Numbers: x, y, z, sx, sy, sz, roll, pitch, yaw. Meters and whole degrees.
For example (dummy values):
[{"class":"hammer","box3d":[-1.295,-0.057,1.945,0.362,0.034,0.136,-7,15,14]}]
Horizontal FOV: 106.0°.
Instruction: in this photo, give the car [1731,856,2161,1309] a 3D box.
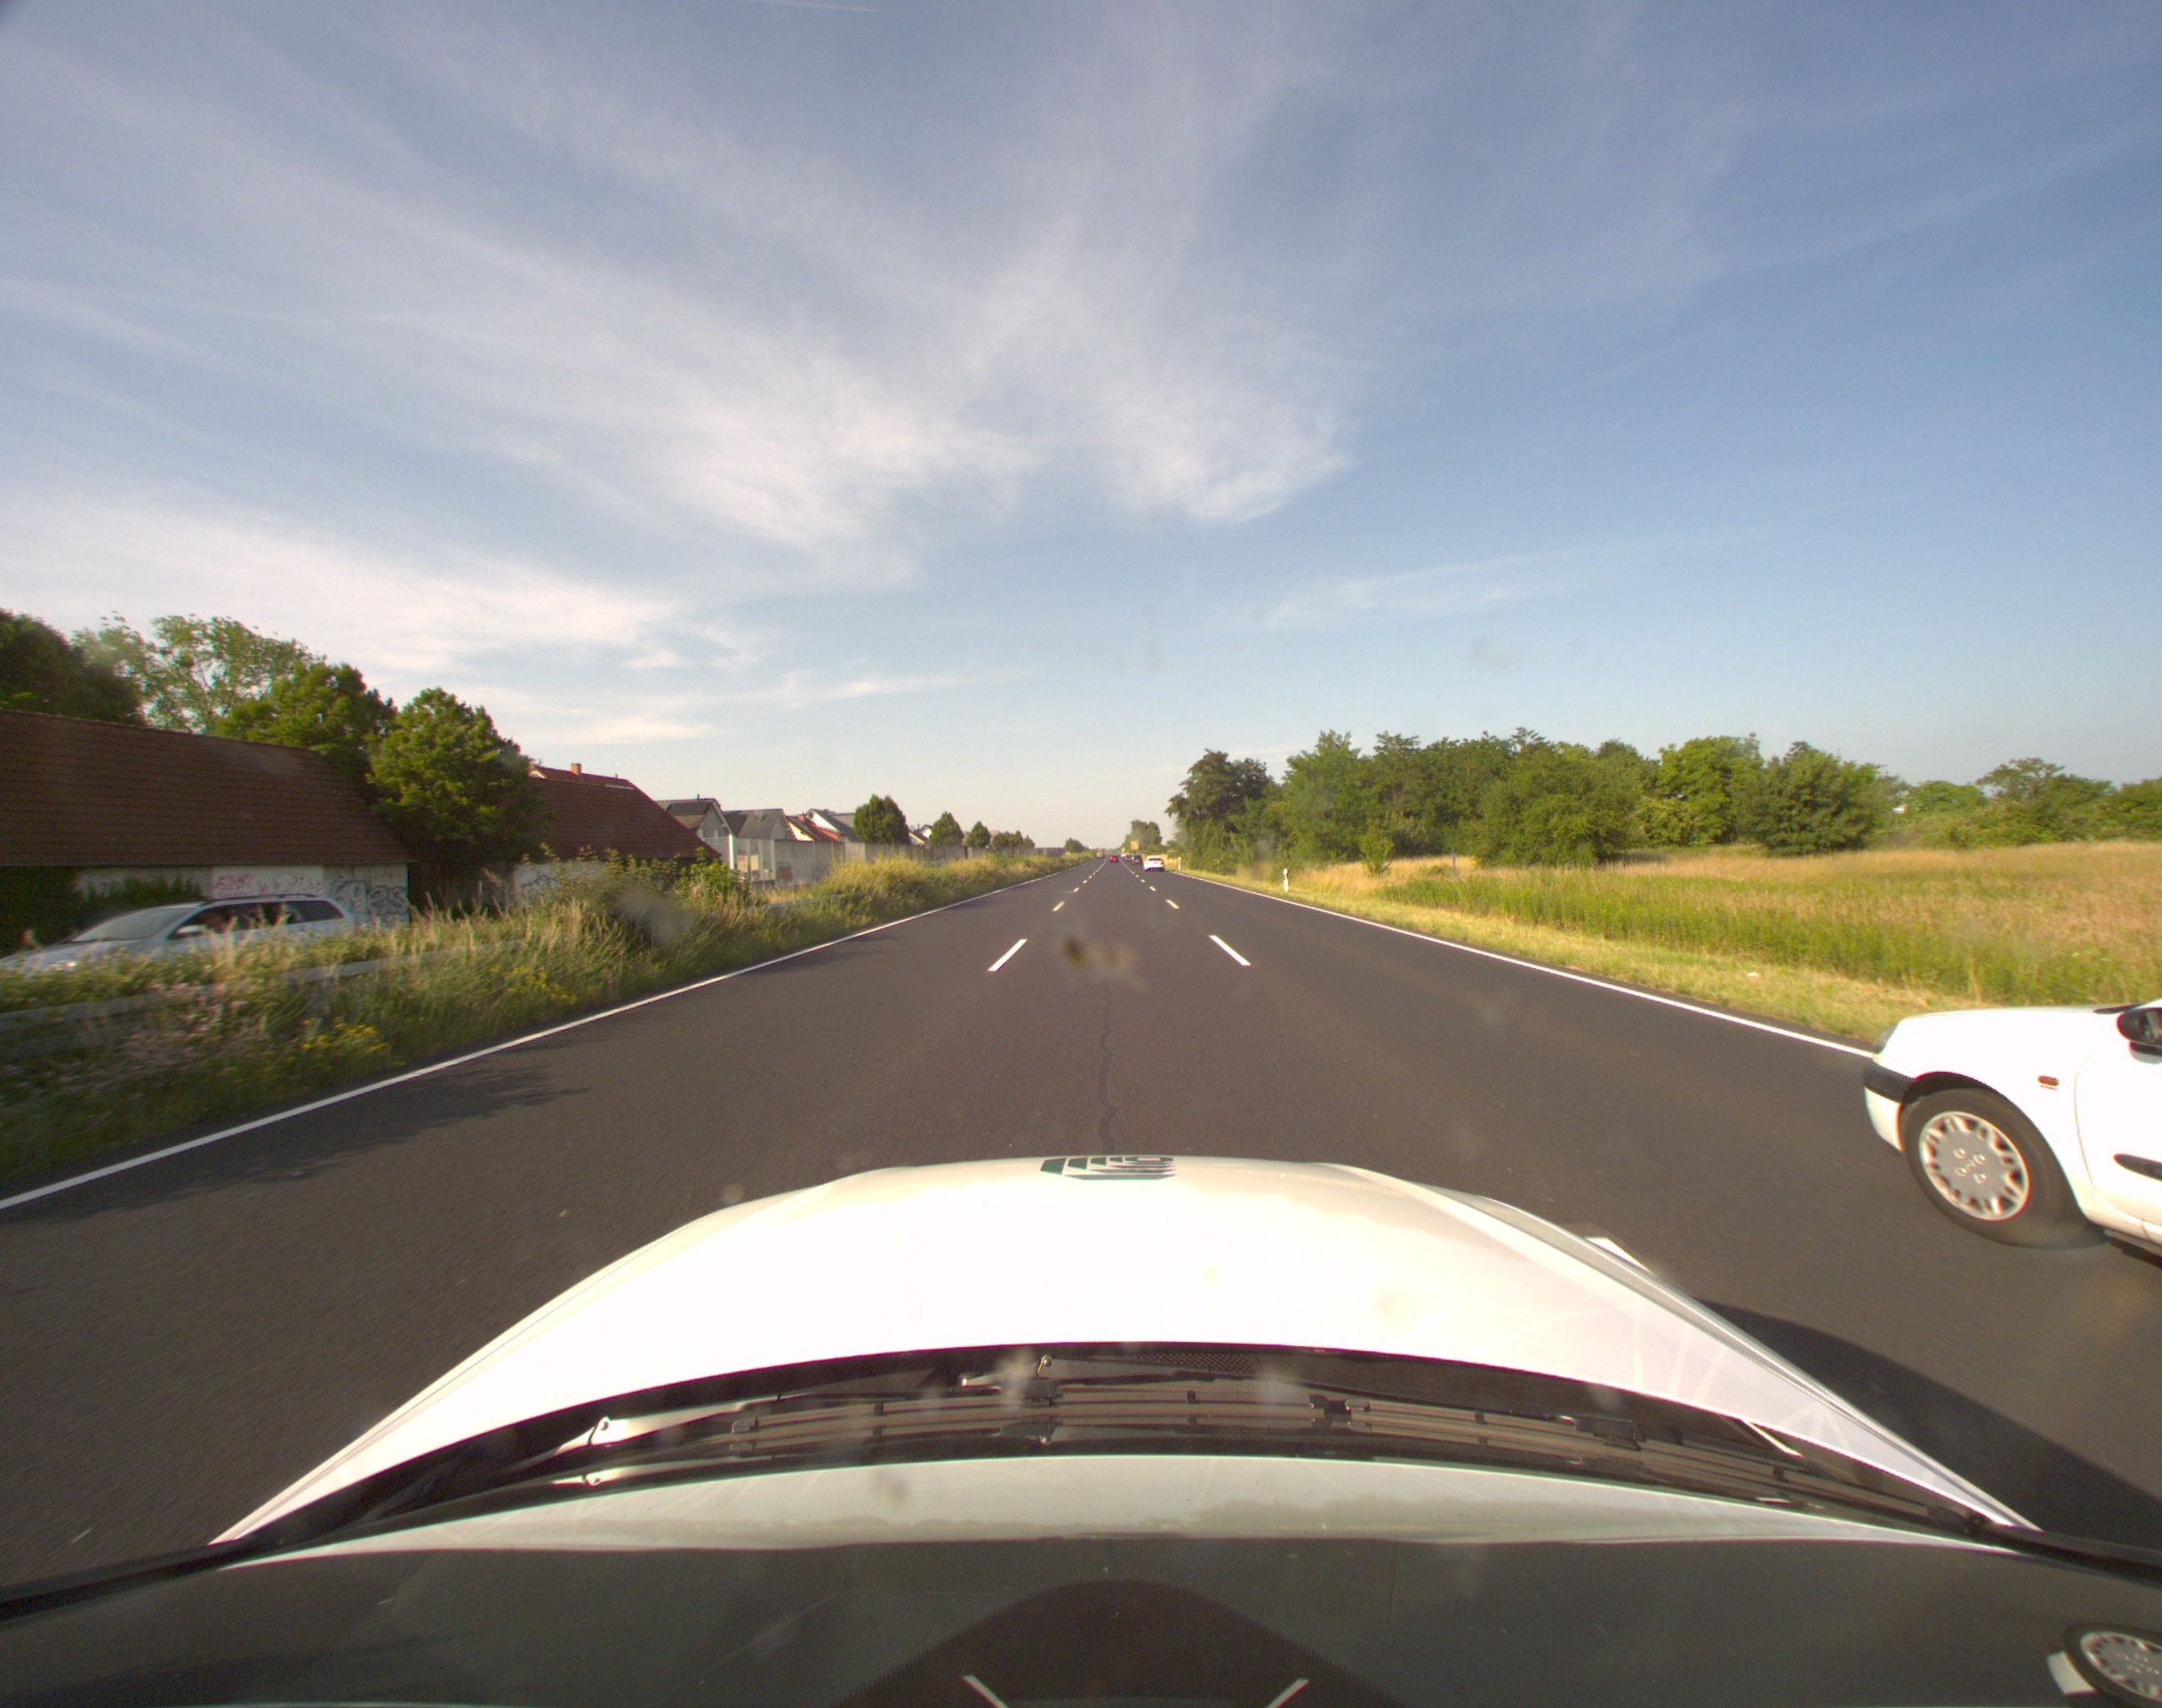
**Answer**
[{"class":"car","box3d":[4.134,0.701,2.231,1.611,1.387,3.952,-1,-1,2]}]

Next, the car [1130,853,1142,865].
[{"class":"car","box3d":[8.626,0.776,127.955,1.821,1.728,4.001,-1,-1,2]}]

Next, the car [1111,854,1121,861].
[{"class":"car","box3d":[6.869,0.651,158.805,1.805,1.436,3.859,-1,-1,1]}]

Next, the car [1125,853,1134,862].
[{"class":"car","box3d":[10.313,0.738,173.671,1.827,1.717,3.864,-1,-1,2]}]

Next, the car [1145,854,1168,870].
[{"class":"car","box3d":[7.189,0.755,78.220,1.986,1.516,4.002,-1,-1,2]}]

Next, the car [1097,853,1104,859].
[{"class":"car","box3d":[5.563,0.630,237.599,1.986,1.717,4.002,-1,-1,2]}]

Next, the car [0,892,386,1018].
[{"class":"car","box3d":[-13.735,1.450,12.942,1.682,1.508,4.187,-1,-1,2]}]

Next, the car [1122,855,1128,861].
[{"class":"car","box3d":[13.273,1.099,245.549,1.839,1.750,4.003,-1,-1,3]}]
